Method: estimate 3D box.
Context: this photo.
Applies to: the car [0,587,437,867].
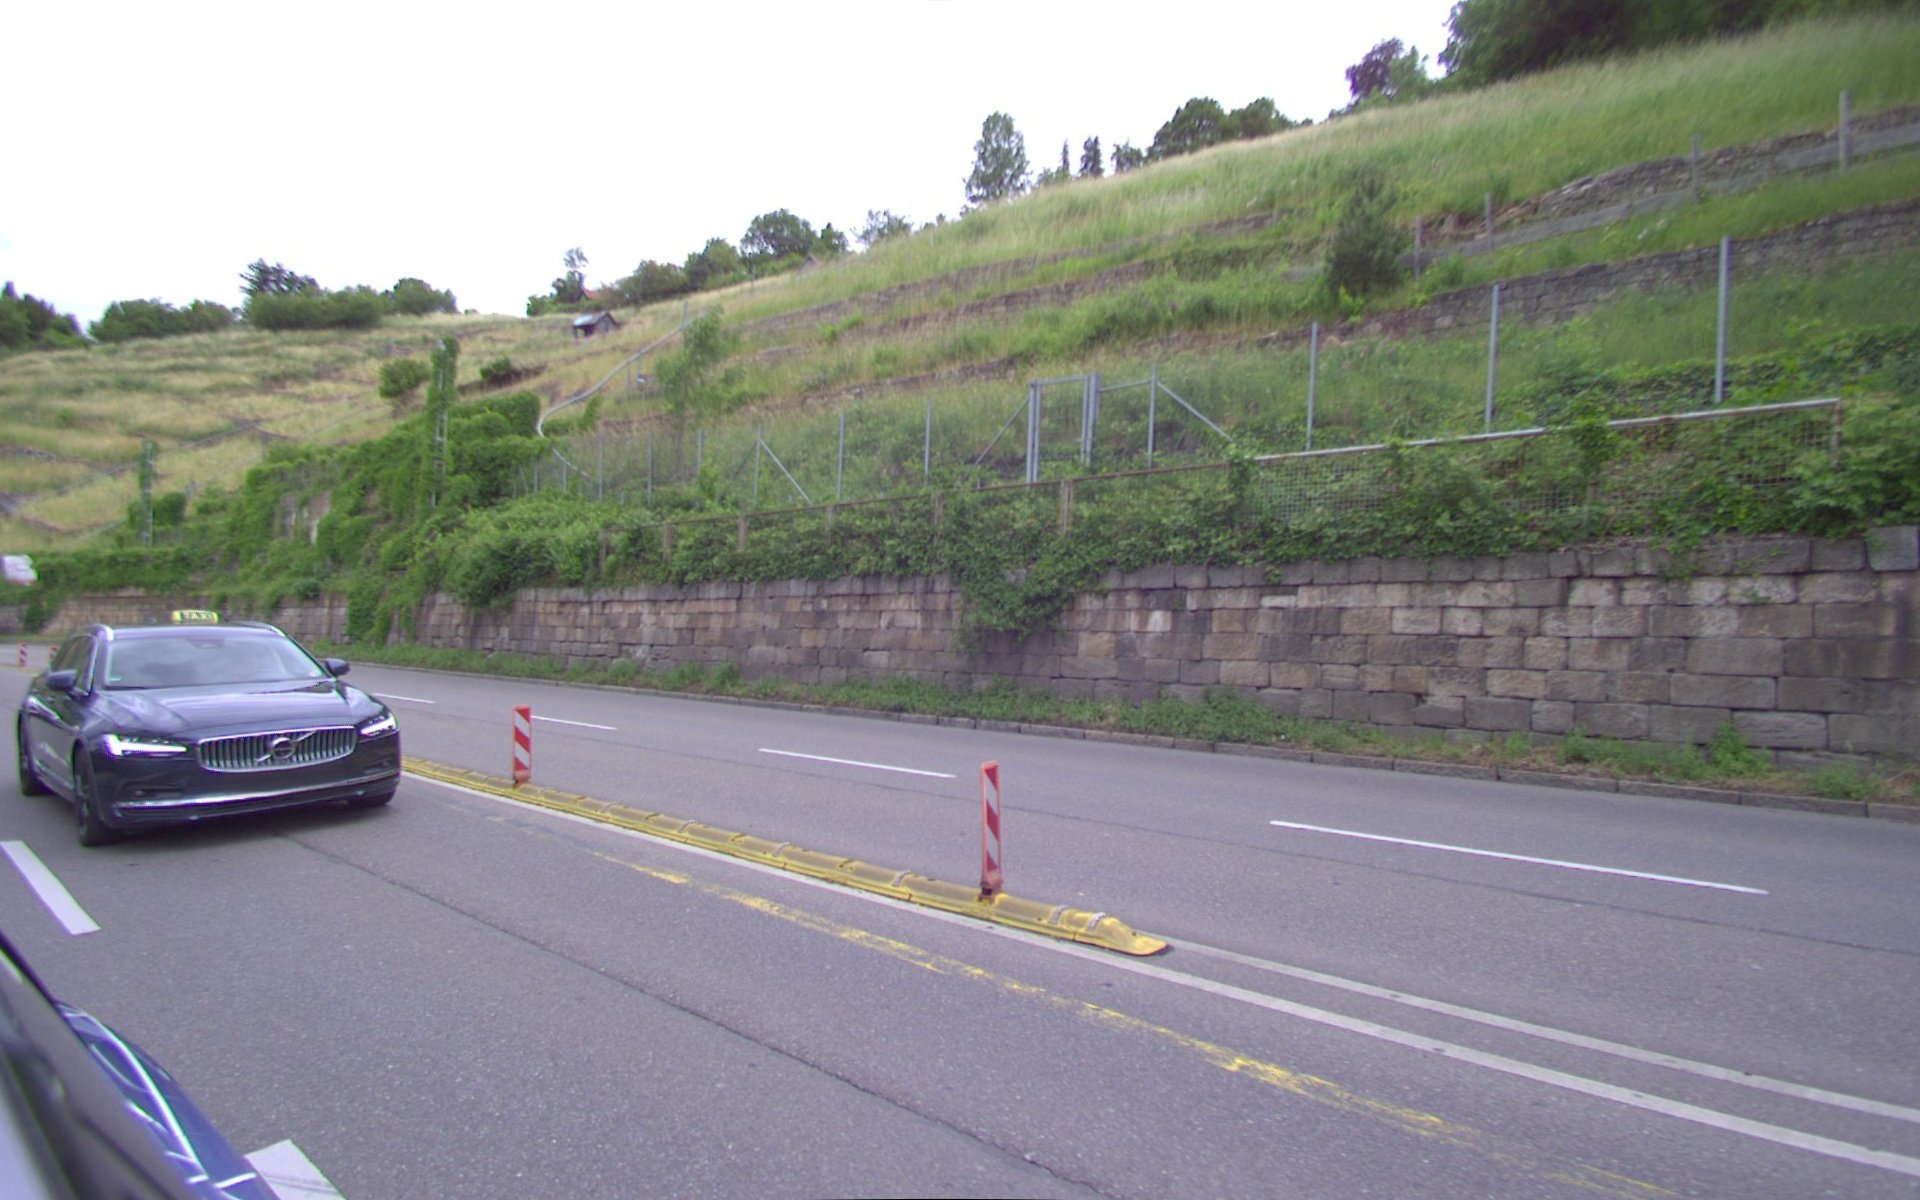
[{"bbox_3d":[-6.255,0.752,8.180,5.025,1.588,1.914,-1,0,42],"label":"car"}]
